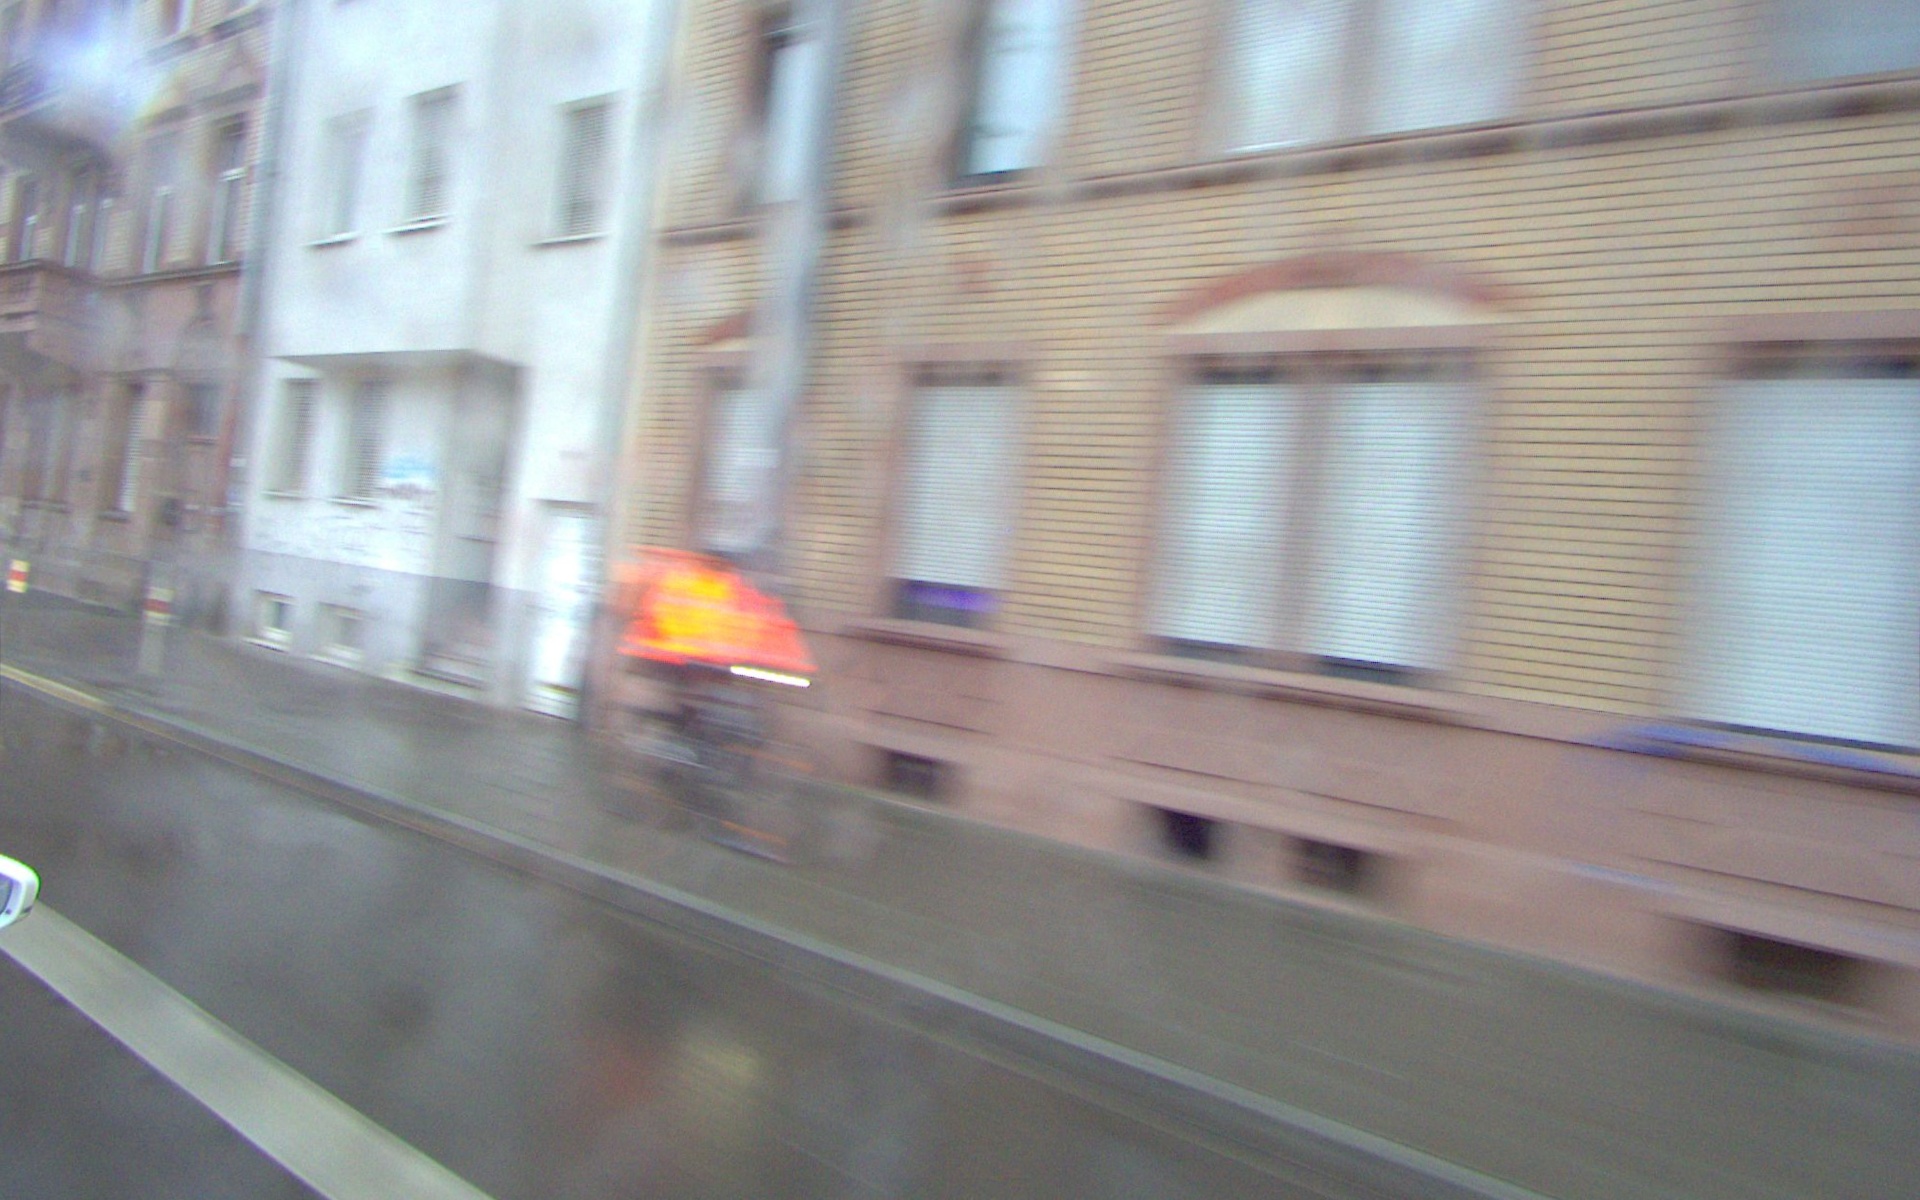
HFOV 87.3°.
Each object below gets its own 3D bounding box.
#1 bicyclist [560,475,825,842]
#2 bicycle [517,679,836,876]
[{"bbox_3d":[-1.557,0.306,5.894,1.092,1.903,0.746,7,0,28],"label":"bicyclist"},{"bbox_3d":[-1.685,0.973,5.886,1.829,0.770,0.609,6,-1,29],"label":"bicycle"}]
